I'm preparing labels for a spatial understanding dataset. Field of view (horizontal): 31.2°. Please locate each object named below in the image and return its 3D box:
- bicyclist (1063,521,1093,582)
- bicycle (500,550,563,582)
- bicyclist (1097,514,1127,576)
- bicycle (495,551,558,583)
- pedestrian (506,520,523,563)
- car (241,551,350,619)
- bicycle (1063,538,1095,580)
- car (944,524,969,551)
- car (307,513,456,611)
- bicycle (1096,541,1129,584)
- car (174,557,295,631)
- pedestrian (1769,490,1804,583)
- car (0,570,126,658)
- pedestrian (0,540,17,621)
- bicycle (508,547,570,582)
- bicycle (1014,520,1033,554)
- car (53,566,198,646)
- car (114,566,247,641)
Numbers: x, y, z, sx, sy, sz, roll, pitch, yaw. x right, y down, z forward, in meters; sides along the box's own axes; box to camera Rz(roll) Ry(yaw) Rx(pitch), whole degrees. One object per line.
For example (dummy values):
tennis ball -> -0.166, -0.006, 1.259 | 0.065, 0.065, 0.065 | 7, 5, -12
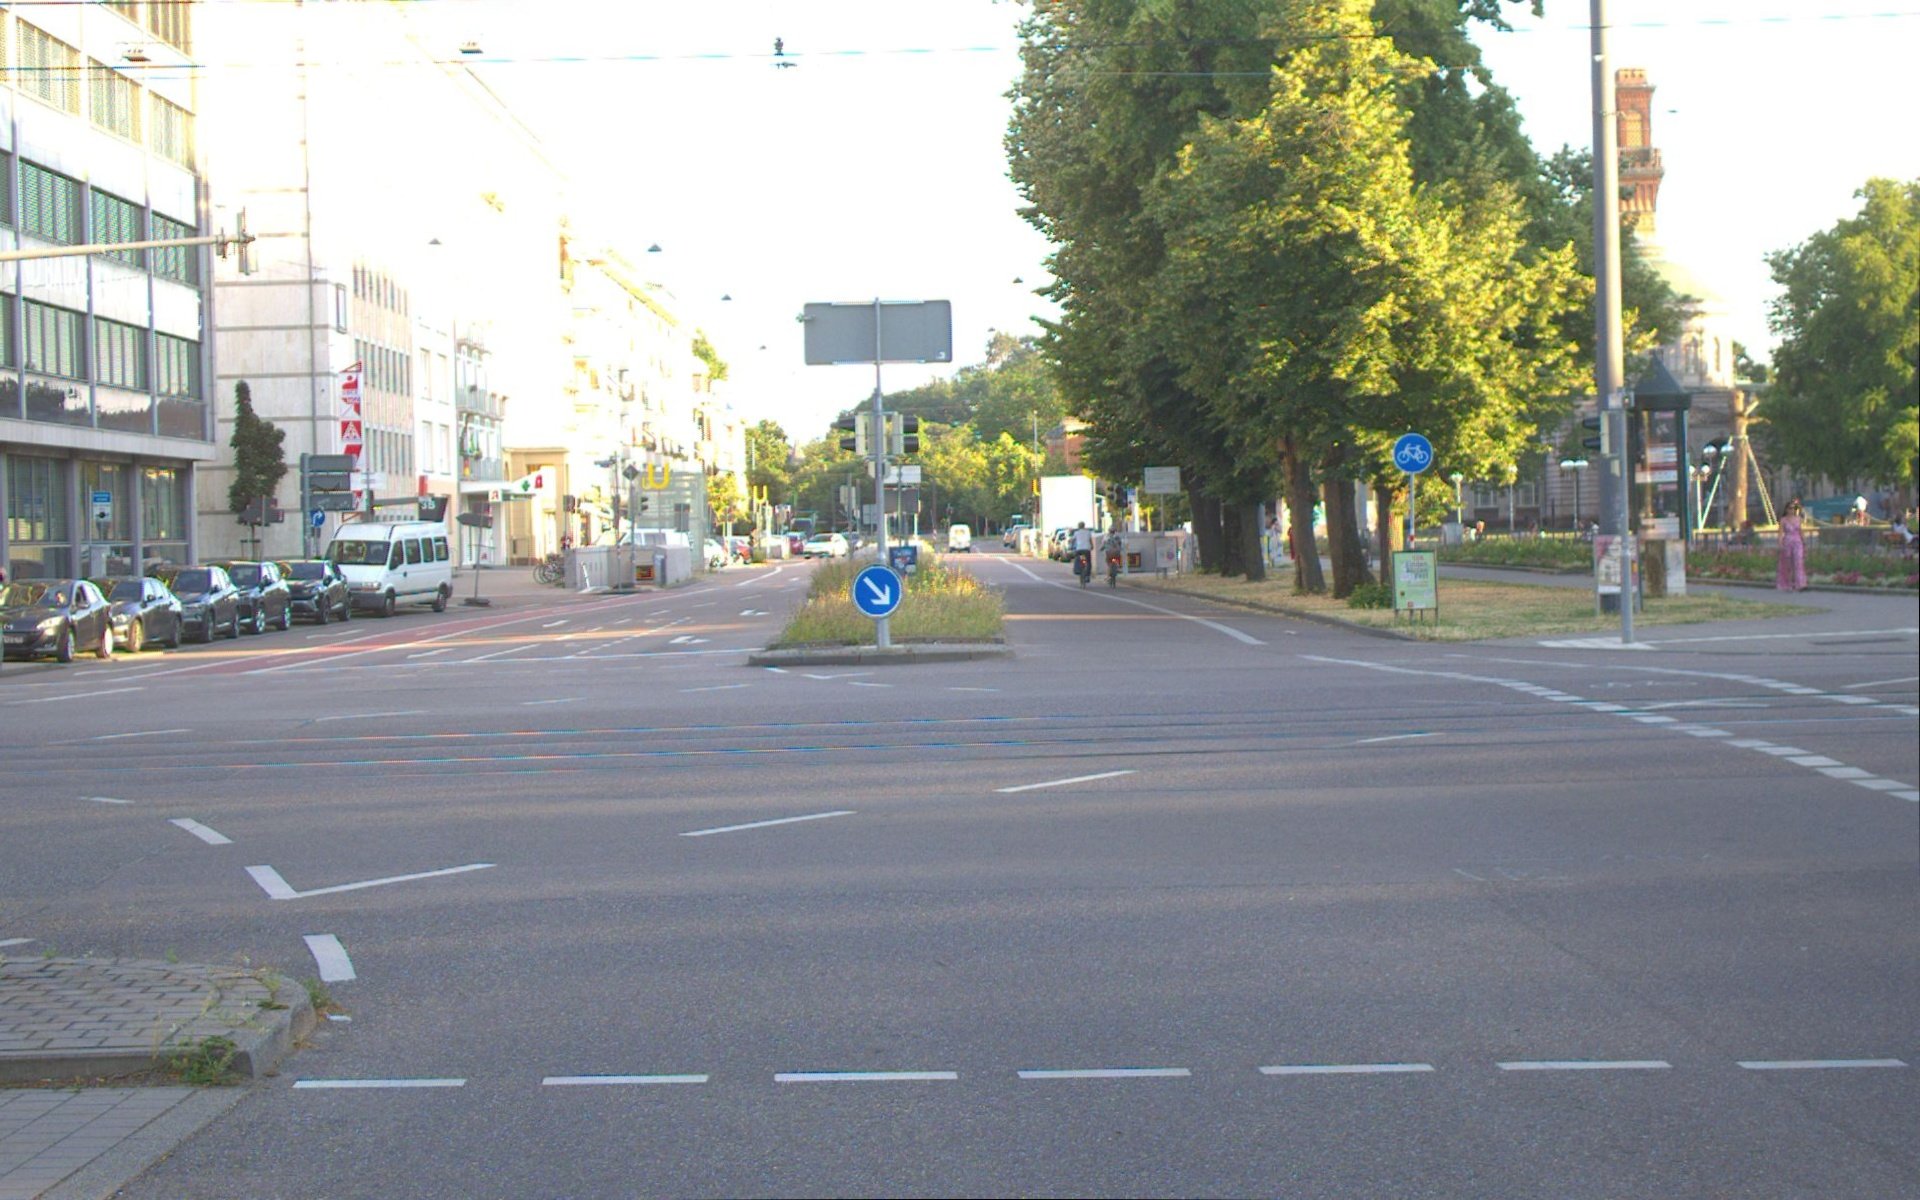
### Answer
bicyclist -> 3.256, -1.348, 94.843 | 0.746, 1.658, 0.873 | -2, 1, -1
bicycle -> -15.813, -1.247, 126.922 | 2.205, 1.108, 0.689 | -2, 1, -2
bicyclist -> 4.192, -1.525, 95.072 | 0.746, 1.685, 0.799 | -2, 1, -1
bicycle -> -15.830, -1.220, 125.499 | 2.205, 1.108, 0.619 | -2, 1, -2
pedestrian -> -21.362, -2.808, 164.809 | 0.680, 2.007, 0.545 | -2, 1, 0
car -> -16.352, -0.384, 84.786 | 1.920, 1.563, 4.000 | -2, 1, -1
bicycle -> 3.289, -1.138, 95.137 | 0.746, 1.140, 2.505 | -2, 1, -1
car -> -0.219, -3.937, 216.286 | 1.408, 1.636, 4.000 | -2, 1, -2
car -> -15.292, -1.054, 91.236 | 2.002, 2.469, 5.865 | -1, 1, 10
bicycle -> 4.206, -1.049, 95.142 | 0.746, 1.140, 2.505 | -2, 1, -1
car -> -16.551, -0.150, 78.559 | 1.920, 1.563, 4.000 | -2, 1, -1
pedestrian -> 14.839, -1.138, 61.713 | 0.460, 1.651, 0.567 | -1, 1, -1
car -> -16.481, 0.232, 61.947 | 1.920, 1.459, 4.103 | -2, 1, -1
pedestrian -> -20.077, -0.410, 71.843 | 0.551, 1.673, 0.500 | -1, 1, -1
bicycle -> -15.771, -1.325, 128.893 | 2.205, 1.232, 0.839 | -2, 1, -2
bicycle -> 3.858, -3.827, 208.035 | 1.002, 2.007, 4.000 | -1, 1, 3
car -> -16.570, 0.102, 68.443 | 1.920, 1.459, 4.000 | -2, 1, -1
car -> -16.573, 0.053, 73.258 | 1.920, 1.459, 4.000 | -2, 1, -1
